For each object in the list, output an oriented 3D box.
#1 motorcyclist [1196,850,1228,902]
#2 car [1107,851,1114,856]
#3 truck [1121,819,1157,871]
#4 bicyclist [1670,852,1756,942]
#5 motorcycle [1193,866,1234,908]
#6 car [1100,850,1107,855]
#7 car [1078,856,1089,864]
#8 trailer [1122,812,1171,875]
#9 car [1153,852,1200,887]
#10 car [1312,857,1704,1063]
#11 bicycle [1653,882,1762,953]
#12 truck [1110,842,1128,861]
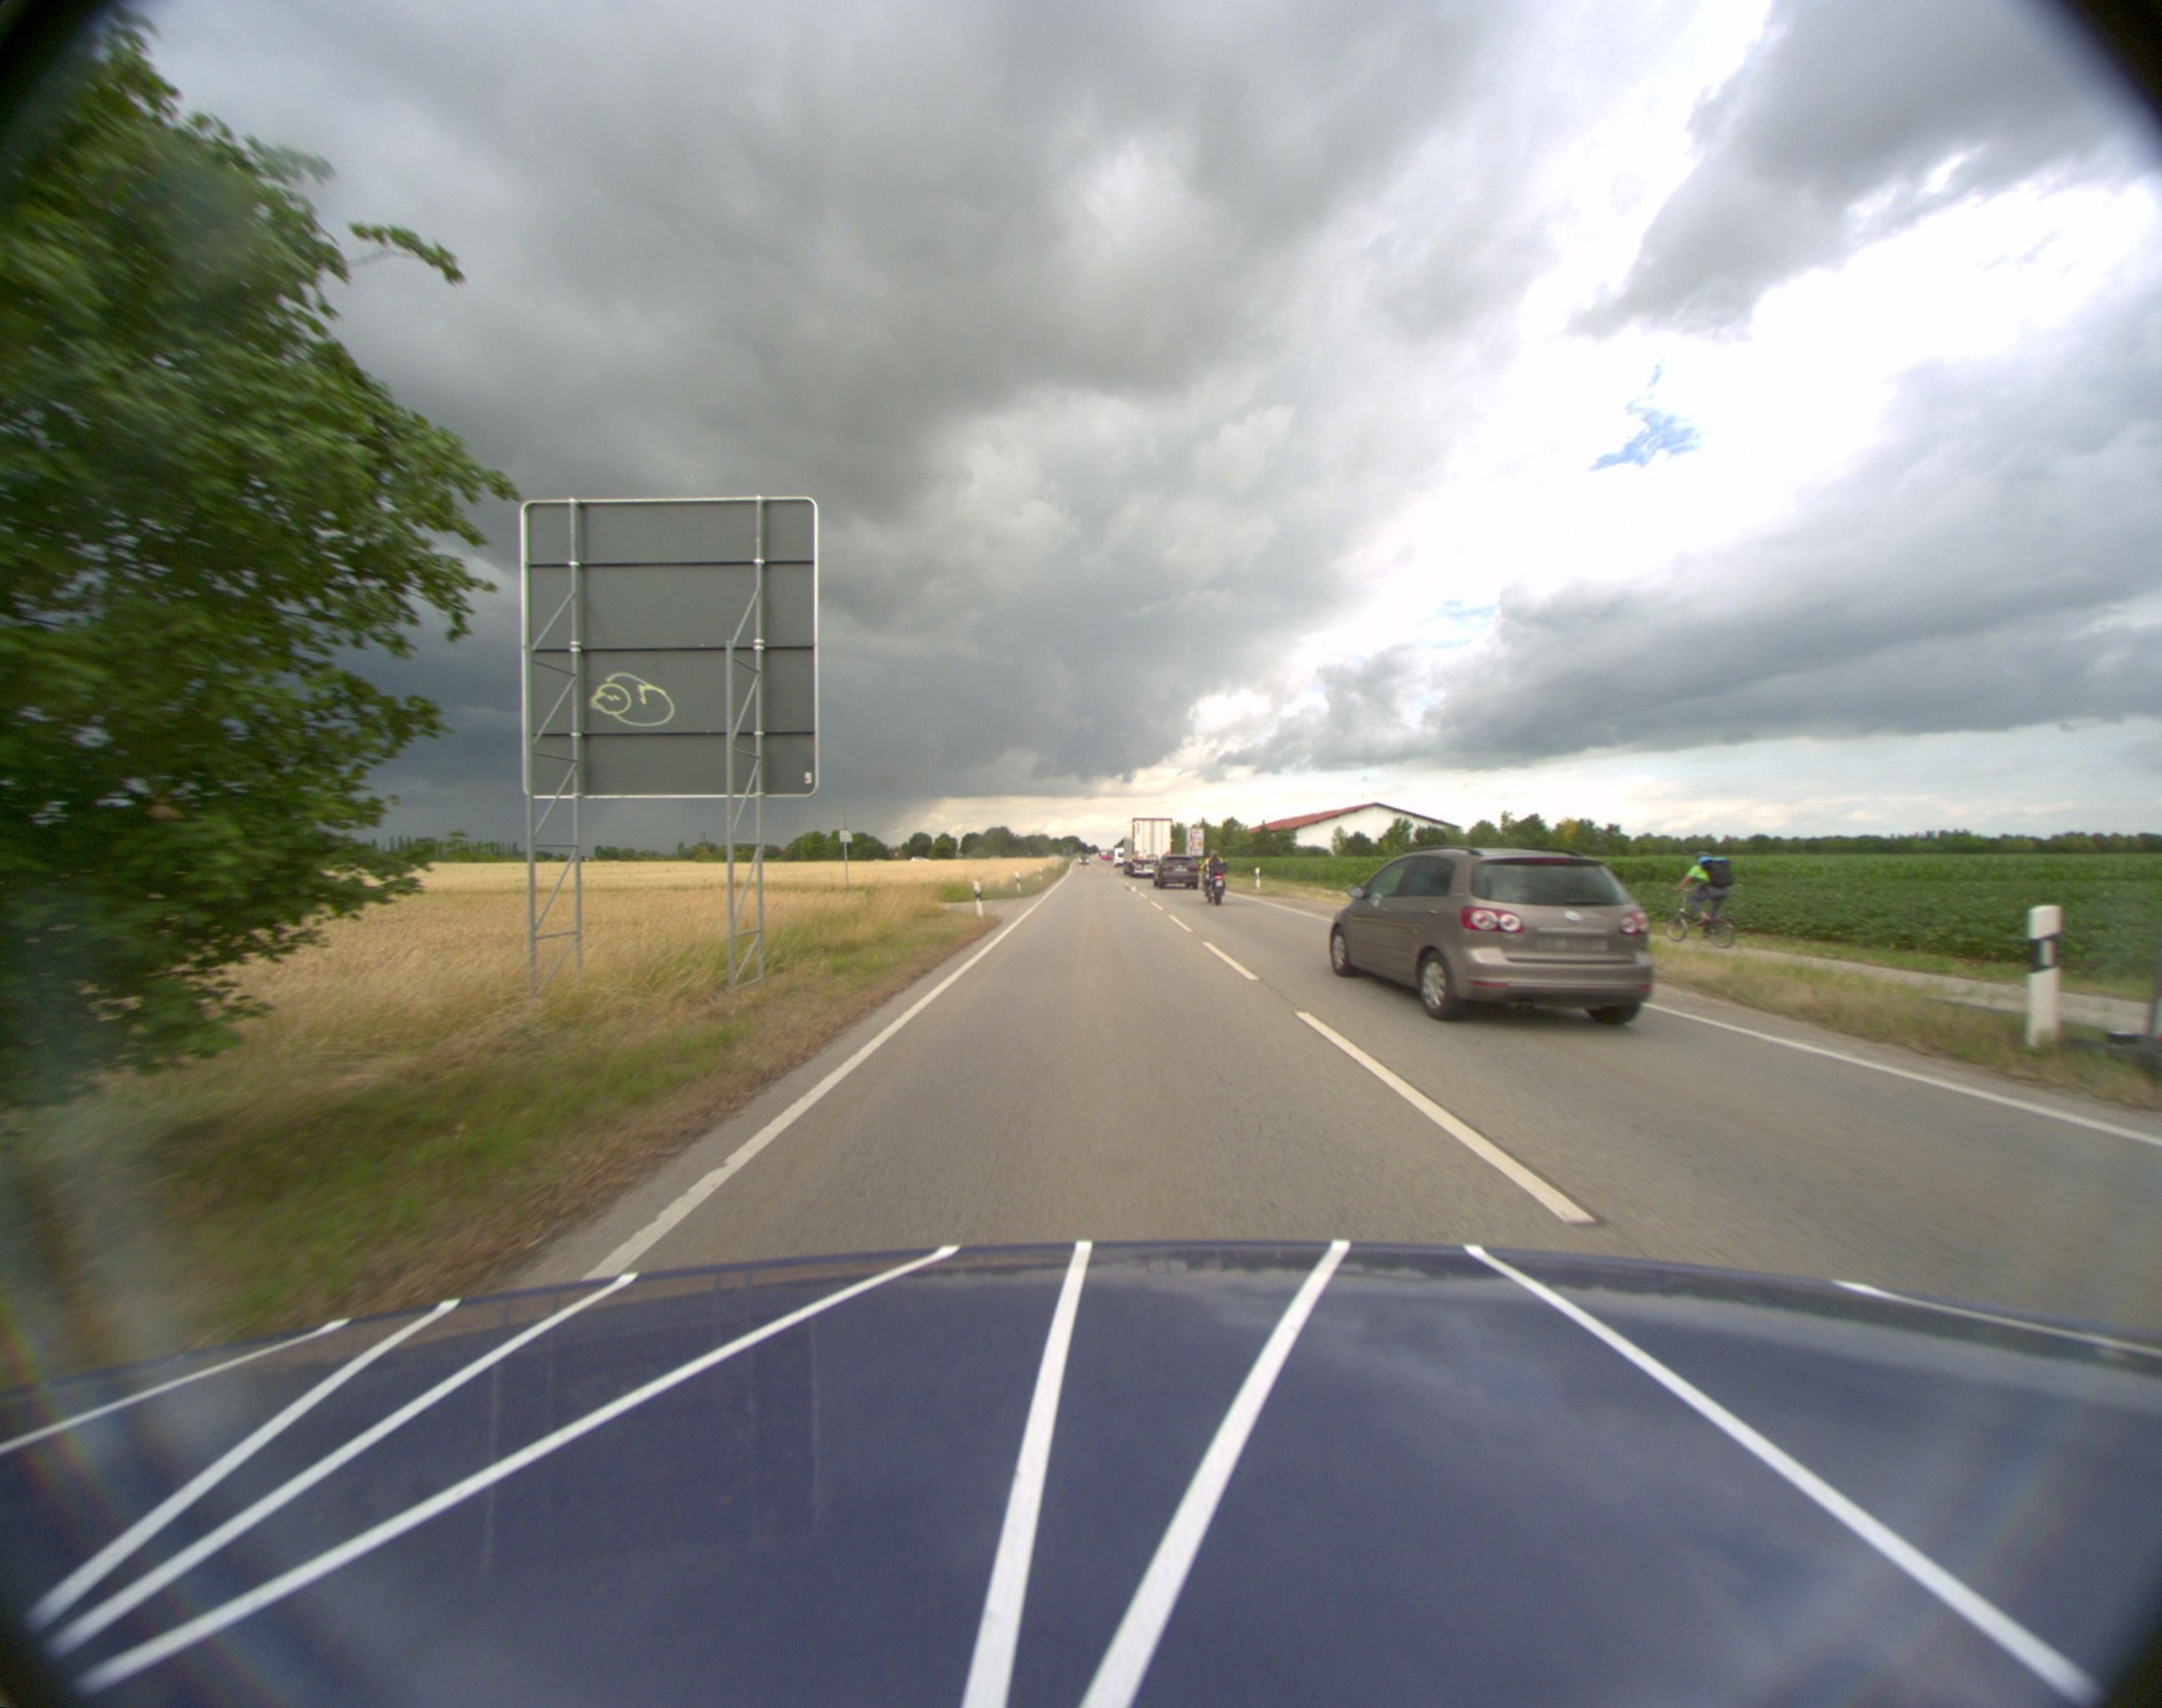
[{"bbox_3d":[4.034,0.656,23.400,0.799,1.564,1.078,-1,1,1],"label":"motorcyclist"},{"bbox_3d":[8.079,-0.088,206.374,1.869,1.352,3.826,0,0,1],"label":"car"},{"bbox_3d":[4.784,-0.757,63.434,2.658,4.097,6.023,0,1,1],"label":"truck"},{"bbox_3d":[11.610,0.753,14.005,0.530,1.575,1.223,1,1,1],"label":"bicyclist"},{"bbox_3d":[4.040,0.971,23.362,0.799,1.151,2.620,-1,0,1],"label":"motorcycle"},{"bbox_3d":[6.892,-0.496,233.010,1.869,1.352,3.826,0,0,1],"label":"car"},{"bbox_3d":[0.496,1.025,132.835,1.869,1.352,3.826,0,0,0],"label":"car"},{"bbox_3d":[4.681,-0.731,56.602,2.641,4.096,13.766,0,0,1],"label":"trailer"},{"bbox_3d":[4.462,0.687,36.150,1.733,1.577,4.504,0,0,1],"label":"car"},{"bbox_3d":[3.953,0.834,8.034,1.708,1.531,4.301,1,0,0],"label":"car"},{"bbox_3d":[11.614,1.143,14.161,0.530,1.149,1.794,1,0,1],"label":"bicycle"},{"bbox_3d":[5.273,-0.361,107.793,2.419,2.643,11.431,0,0,2],"label":"truck"}]
